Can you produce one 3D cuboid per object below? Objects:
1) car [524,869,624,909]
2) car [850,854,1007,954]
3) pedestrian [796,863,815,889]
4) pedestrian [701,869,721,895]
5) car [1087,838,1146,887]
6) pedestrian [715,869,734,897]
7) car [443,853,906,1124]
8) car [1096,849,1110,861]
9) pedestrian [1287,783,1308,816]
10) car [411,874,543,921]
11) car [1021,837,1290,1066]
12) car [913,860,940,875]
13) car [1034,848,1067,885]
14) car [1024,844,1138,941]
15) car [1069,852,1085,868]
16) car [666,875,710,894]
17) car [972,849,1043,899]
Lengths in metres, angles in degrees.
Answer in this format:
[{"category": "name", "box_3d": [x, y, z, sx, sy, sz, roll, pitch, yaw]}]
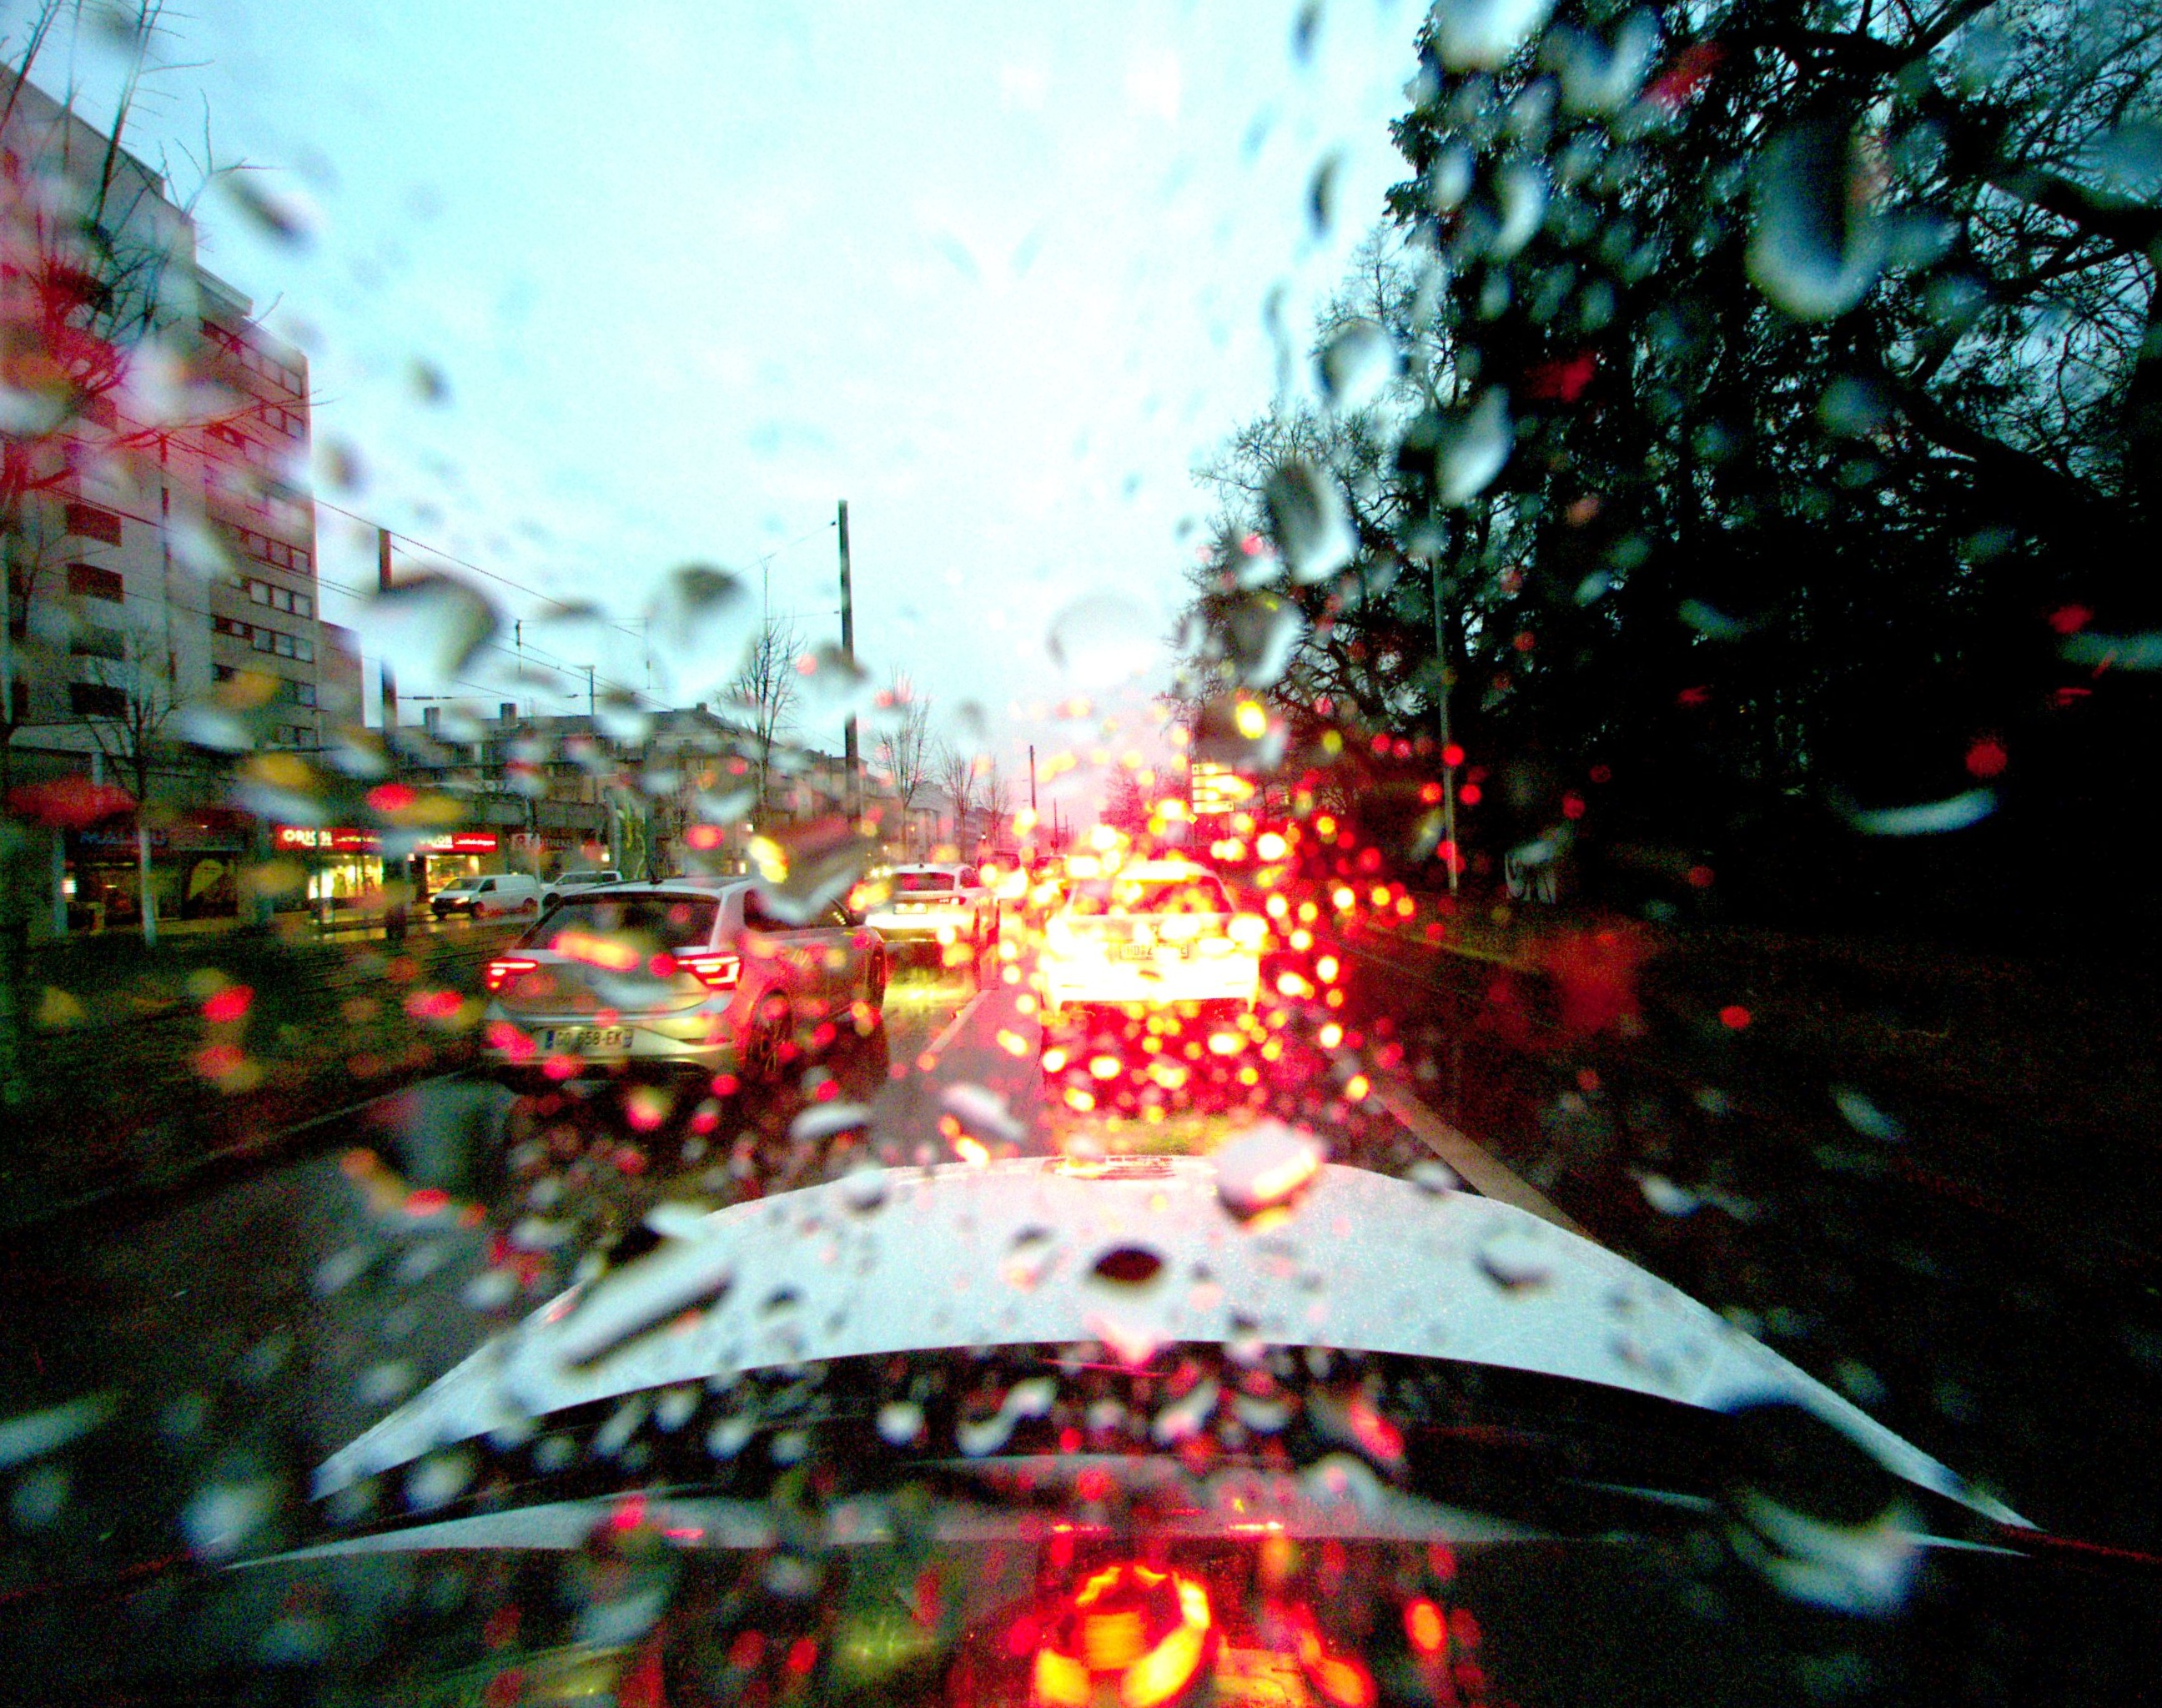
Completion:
[{"category": "car", "box_3d": [-30.701, 2.090, 49.453, 4.859, 2.244, 1.975, 0, -1, -44]}, {"category": "car", "box_3d": [-2.557, 0.765, 14.840, 1.792, 1.466, 4.587, -2, 0, 2]}, {"category": "pedestrian", "box_3d": [-22.175, 1.799, 65.541, 1.274, 2.013, 1.000, -2, 0, -23]}, {"category": "pedestrian", "box_3d": [-29.023, 2.201, 63.862, 0.949, 2.013, 1.014, -3, 0, 30]}, {"category": "car", "box_3d": [1.138, 0.255, 26.781, 1.731, 1.419, 3.704, -2, 0, 2]}, {"category": "pedestrian", "box_3d": [-26.465, 2.162, 60.450, 1.075, 2.013, 0.997, -2, 0, -34]}, {"category": "car", "box_3d": [-2.784, 0.775, 6.706, 1.687, 1.533, 4.001, -1, 0, 1]}, {"category": "car", "box_3d": [2.755, 0.141, 101.946, 1.731, 1.419, 4.147, -2, 0, 2]}, {"category": "pedestrian", "box_3d": [13.716, -3.433, 51.584, 0.956, 2.013, 1.007, -2, 0, -2]}, {"category": "car", "box_3d": [-29.702, 2.085, 40.349, 1.983, 2.046, 5.575, 0, -1, 6]}, {"category": "car", "box_3d": [0.610, 0.696, 8.287, 1.855, 1.556, 4.940, -2, 0, 2]}, {"category": "car", "box_3d": [-16.127, 1.401, 85.155, 1.987, 1.602, 4.000, 0, -1, 1]}, {"category": "car", "box_3d": [-1.413, 0.575, 38.526, 1.501, 1.653, 2.843, 0, -1, -2]}, {"category": "car", "box_3d": [0.067, 0.636, 15.132, 1.793, 1.511, 3.897, -2, 0, 2]}, {"category": "car", "box_3d": [-0.376, 0.540, 70.209, 1.359, 1.316, 2.715, 0, -1, -1]}, {"category": "car", "box_3d": [-40.671, 3.133, 84.337, 3.744, 1.942, 1.838, 0, -1, -7]}, {"category": "car", "box_3d": [-2.329, 0.606, 26.839, 1.731, 1.419, 4.395, -2, 0, 2]}]
